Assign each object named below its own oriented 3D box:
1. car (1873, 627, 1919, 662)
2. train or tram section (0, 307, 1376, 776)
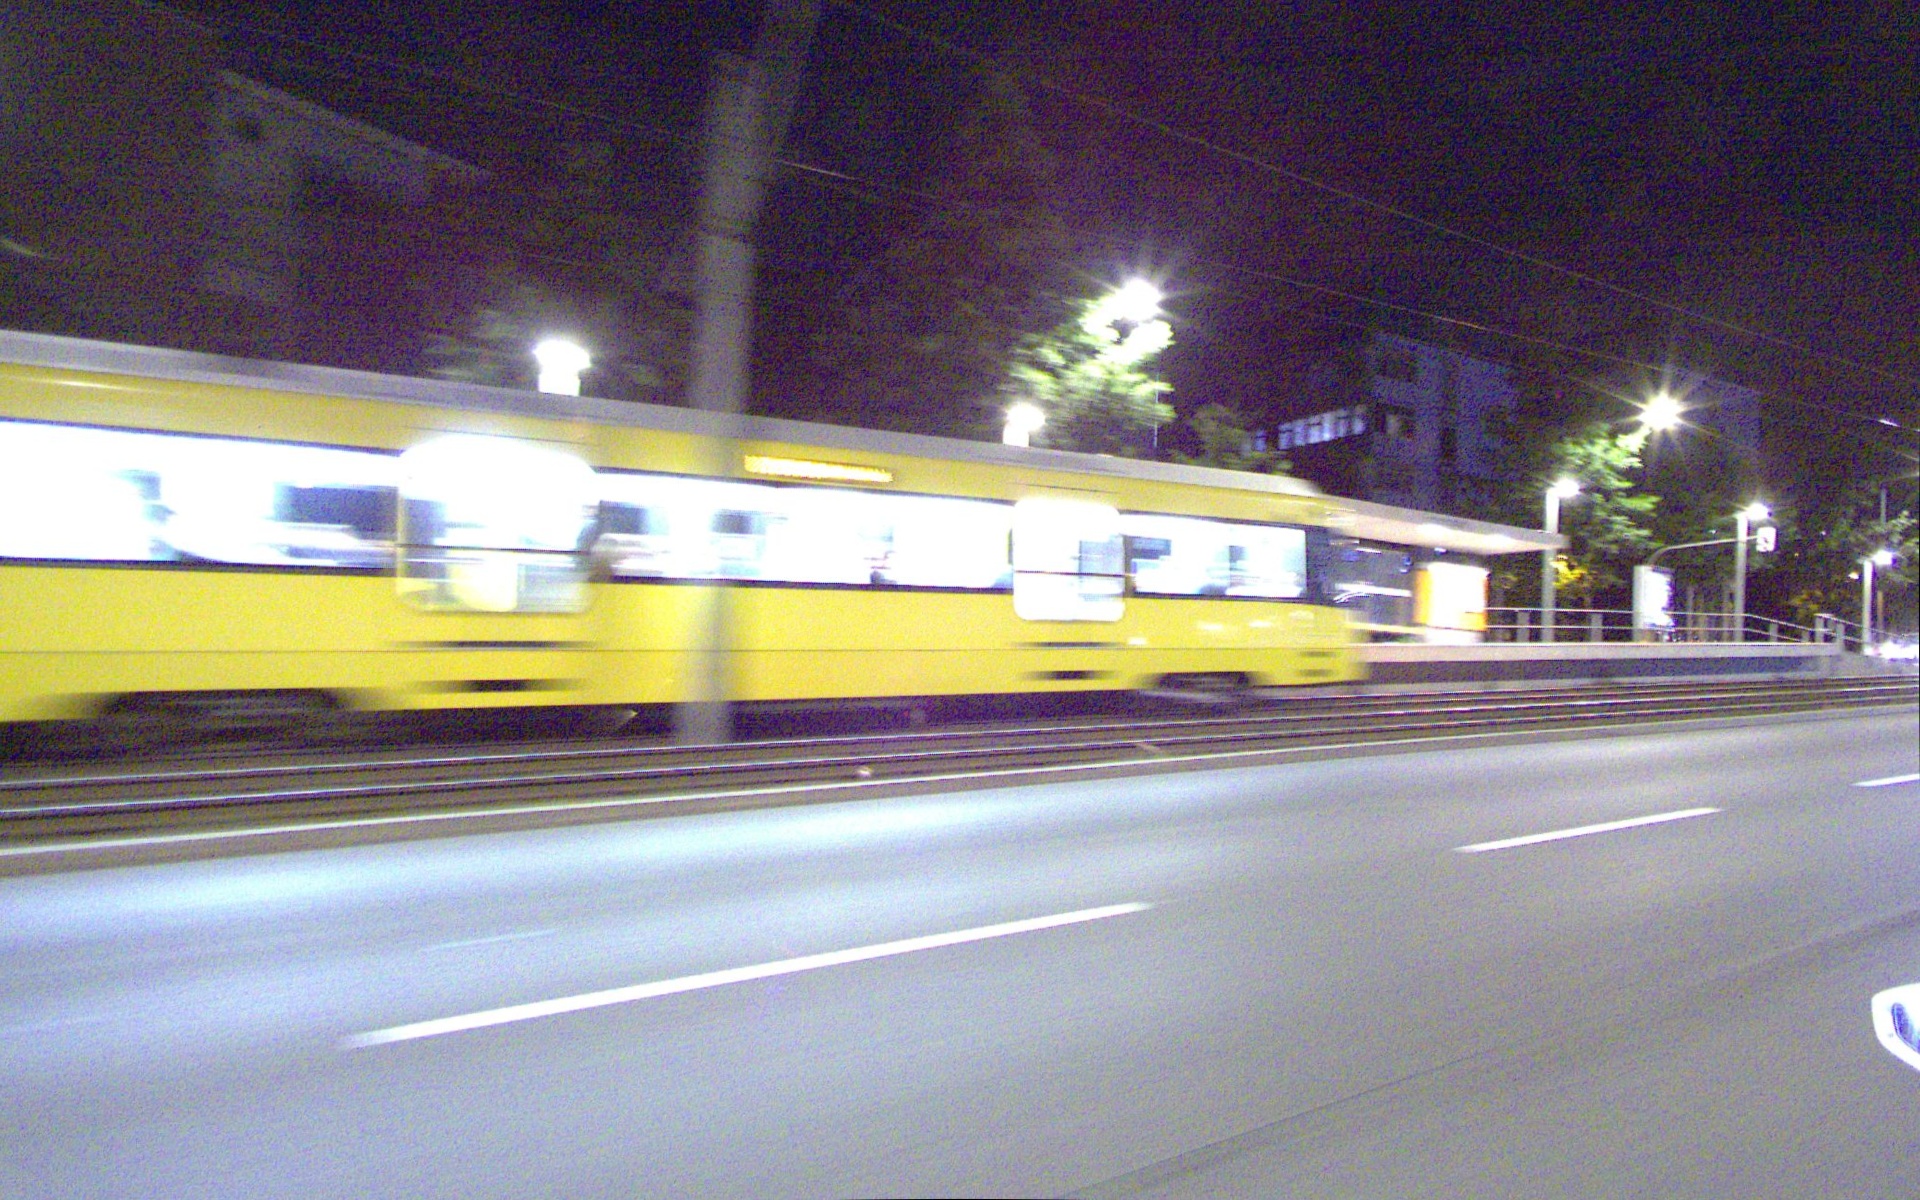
[{"bbox_3d":[43.907,2.101,46.190,4.127,1.517,1.775,3,-2,-31],"label":"car"},{"bbox_3d":[-1.746,-0.300,13.425,18.445,3.878,2.746,1,-1,-30],"label":"train or tram section"}]
